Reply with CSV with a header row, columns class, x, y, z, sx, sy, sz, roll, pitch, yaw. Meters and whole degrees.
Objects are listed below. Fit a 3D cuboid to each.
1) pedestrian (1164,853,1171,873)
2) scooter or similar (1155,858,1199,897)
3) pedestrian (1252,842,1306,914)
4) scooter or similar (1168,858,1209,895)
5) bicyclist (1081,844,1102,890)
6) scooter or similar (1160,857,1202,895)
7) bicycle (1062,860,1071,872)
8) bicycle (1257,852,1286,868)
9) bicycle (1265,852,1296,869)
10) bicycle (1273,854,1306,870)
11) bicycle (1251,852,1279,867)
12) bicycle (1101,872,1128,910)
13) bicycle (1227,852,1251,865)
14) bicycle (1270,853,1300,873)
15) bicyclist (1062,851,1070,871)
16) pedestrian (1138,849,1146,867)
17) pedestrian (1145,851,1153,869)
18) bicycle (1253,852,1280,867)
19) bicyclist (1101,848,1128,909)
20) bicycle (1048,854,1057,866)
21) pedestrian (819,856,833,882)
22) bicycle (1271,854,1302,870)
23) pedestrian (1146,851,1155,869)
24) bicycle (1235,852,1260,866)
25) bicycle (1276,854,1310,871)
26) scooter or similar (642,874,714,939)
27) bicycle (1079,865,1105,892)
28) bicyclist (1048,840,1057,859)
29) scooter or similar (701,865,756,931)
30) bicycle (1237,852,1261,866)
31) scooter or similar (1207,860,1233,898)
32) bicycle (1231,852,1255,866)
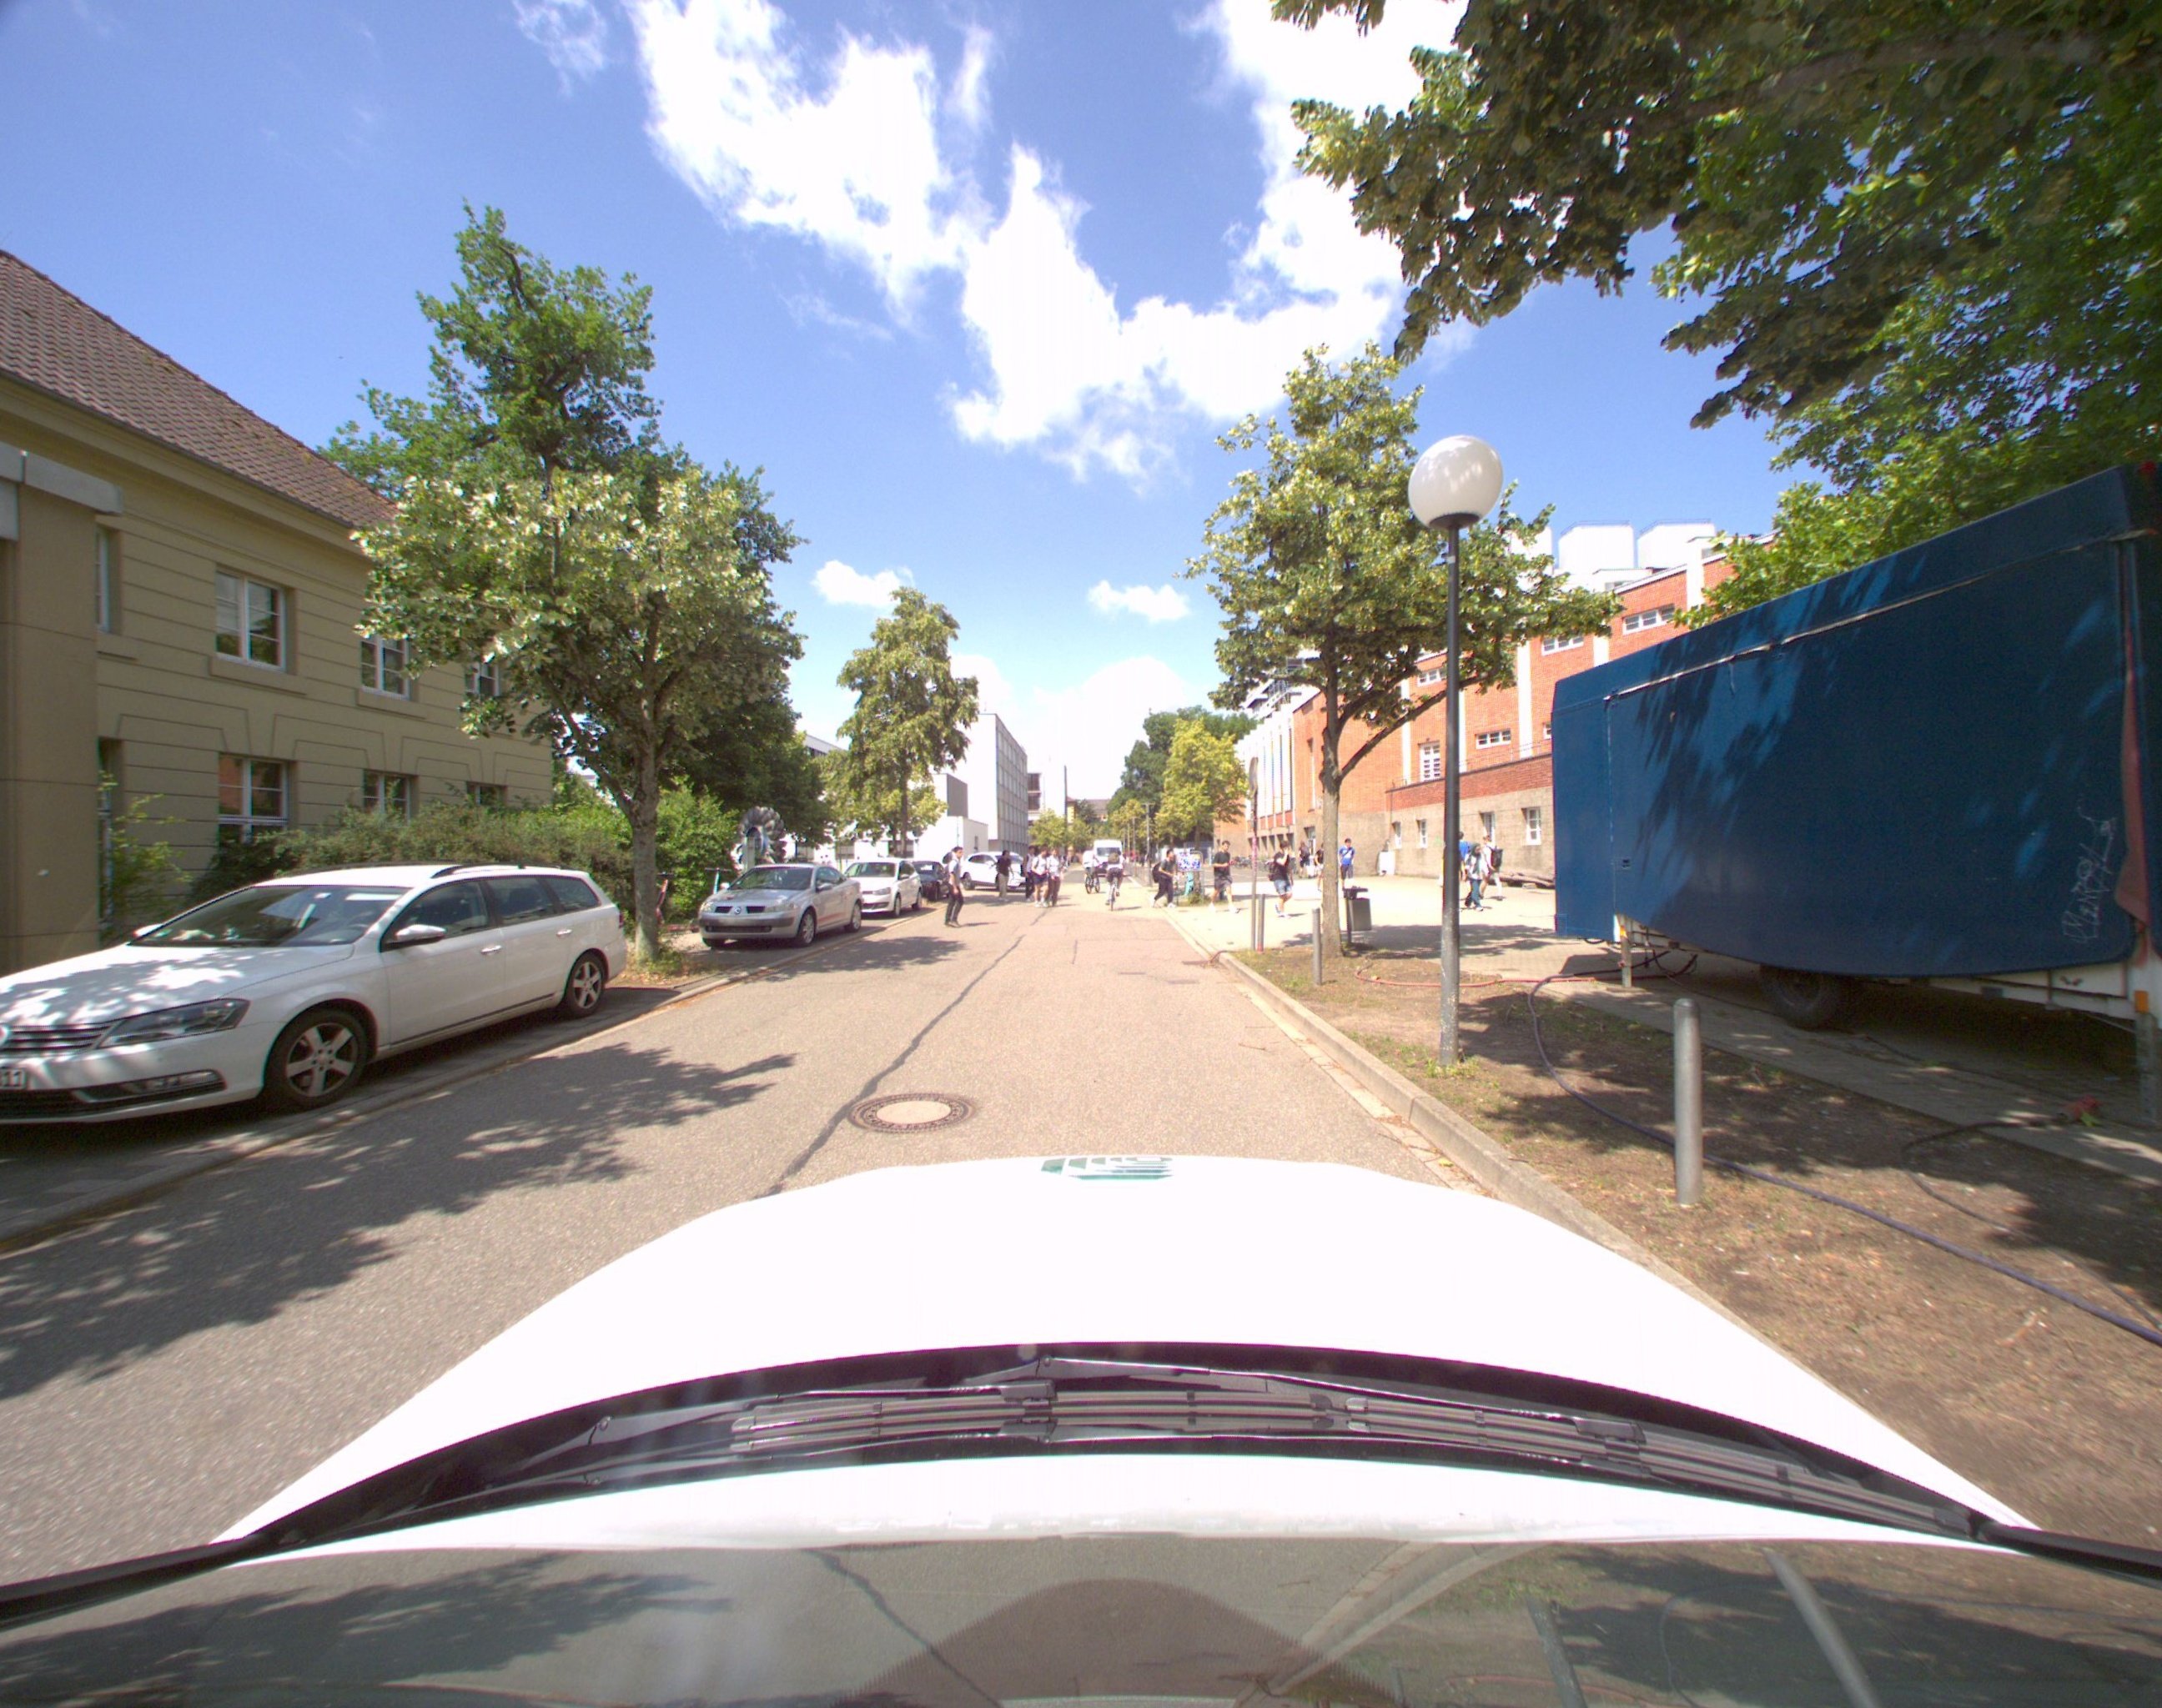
class,x,y,z,sx,sy,sz,roll,pitch,yaw
pedestrian,7.900,0.816,74.455,0.574,1.860,0.569,-2,0,-1
scooter or similar,3.226,0.804,27.366,1.248,1.265,0.655,-2,0,33
pedestrian,4.586,0.537,18.859,0.855,1.595,0.820,-3,0,-42
scooter or similar,3.805,0.811,28.918,1.248,1.265,0.644,-2,0,33
bicyclist,0.419,0.509,32.048,0.767,1.756,0.850,0,0,6
scooter or similar,3.459,0.760,28.110,1.248,1.265,0.655,-2,0,33
bicycle,-1.252,1.055,69.774,0.675,0.965,2.001,1,-2,-1
bicycle,12.811,0.415,54.733,1.803,0.985,0.560,-3,0,0
bicycle,12.917,0.428,52.772,1.803,0.985,0.560,-3,0,0
bicycle,12.690,0.489,49.604,1.803,0.912,0.560,-3,0,0
bicycle,13.278,0.398,58.751,1.803,0.985,0.560,-3,0,0
bicycle,0.944,1.033,23.358,0.704,0.993,1.911,0,0,1
bicycle,13.138,0.372,67.711,1.803,0.985,0.560,-3,0,0
bicycle,11.720,0.515,46.819,1.529,1.033,0.560,-2,0,0
bicyclist,-1.290,0.565,69.728,0.665,1.681,0.992,-2,0,-2
pedestrian,6.371,0.458,85.347,0.787,1.860,1.244,-2,0,3
pedestrian,7.357,0.668,87.922,0.787,1.860,1.026,-2,0,2
bicycle,13.247,0.399,58.110,1.803,0.985,0.560,-3,0,0
bicyclist,0.941,0.678,23.185,0.715,1.662,1.095,-1,0,1
bicycle,-2.362,0.519,68.184,0.675,0.965,2.002,-1,0,-1
pedestrian,-17.454,1.023,55.741,0.690,1.749,0.636,-1,-1,1
bicycle,12.855,0.485,51.008,1.803,0.912,0.560,-3,0,0
pedestrian,7.276,0.623,85.078,0.787,1.860,1.026,-2,0,2
bicycle,13.083,0.389,63.838,1.803,0.985,0.560,-3,0,0
bicycle,12.687,0.494,48.749,1.803,0.912,0.560,-3,0,0
scooter or similar,-7.740,0.984,15.691,0.466,1.171,1.234,-1,-1,21
bicycle,0.436,0.968,32.090,0.804,1.002,2.127,-1,-2,6
bicyclist,-2.402,-0.366,68.322,0.641,1.601,0.909,-2,0,-1
scooter or similar,-7.559,0.925,17.509,0.522,1.287,1.229,-4,1,2
bicycle,13.341,0.398,64.668,1.803,0.985,0.560,-3,0,0
scooter or similar,4.542,0.803,26.540,0.643,1.160,1.270,-2,0,17
bicycle,13.013,0.387,65.374,1.803,0.985,0.560,-3,0,0
